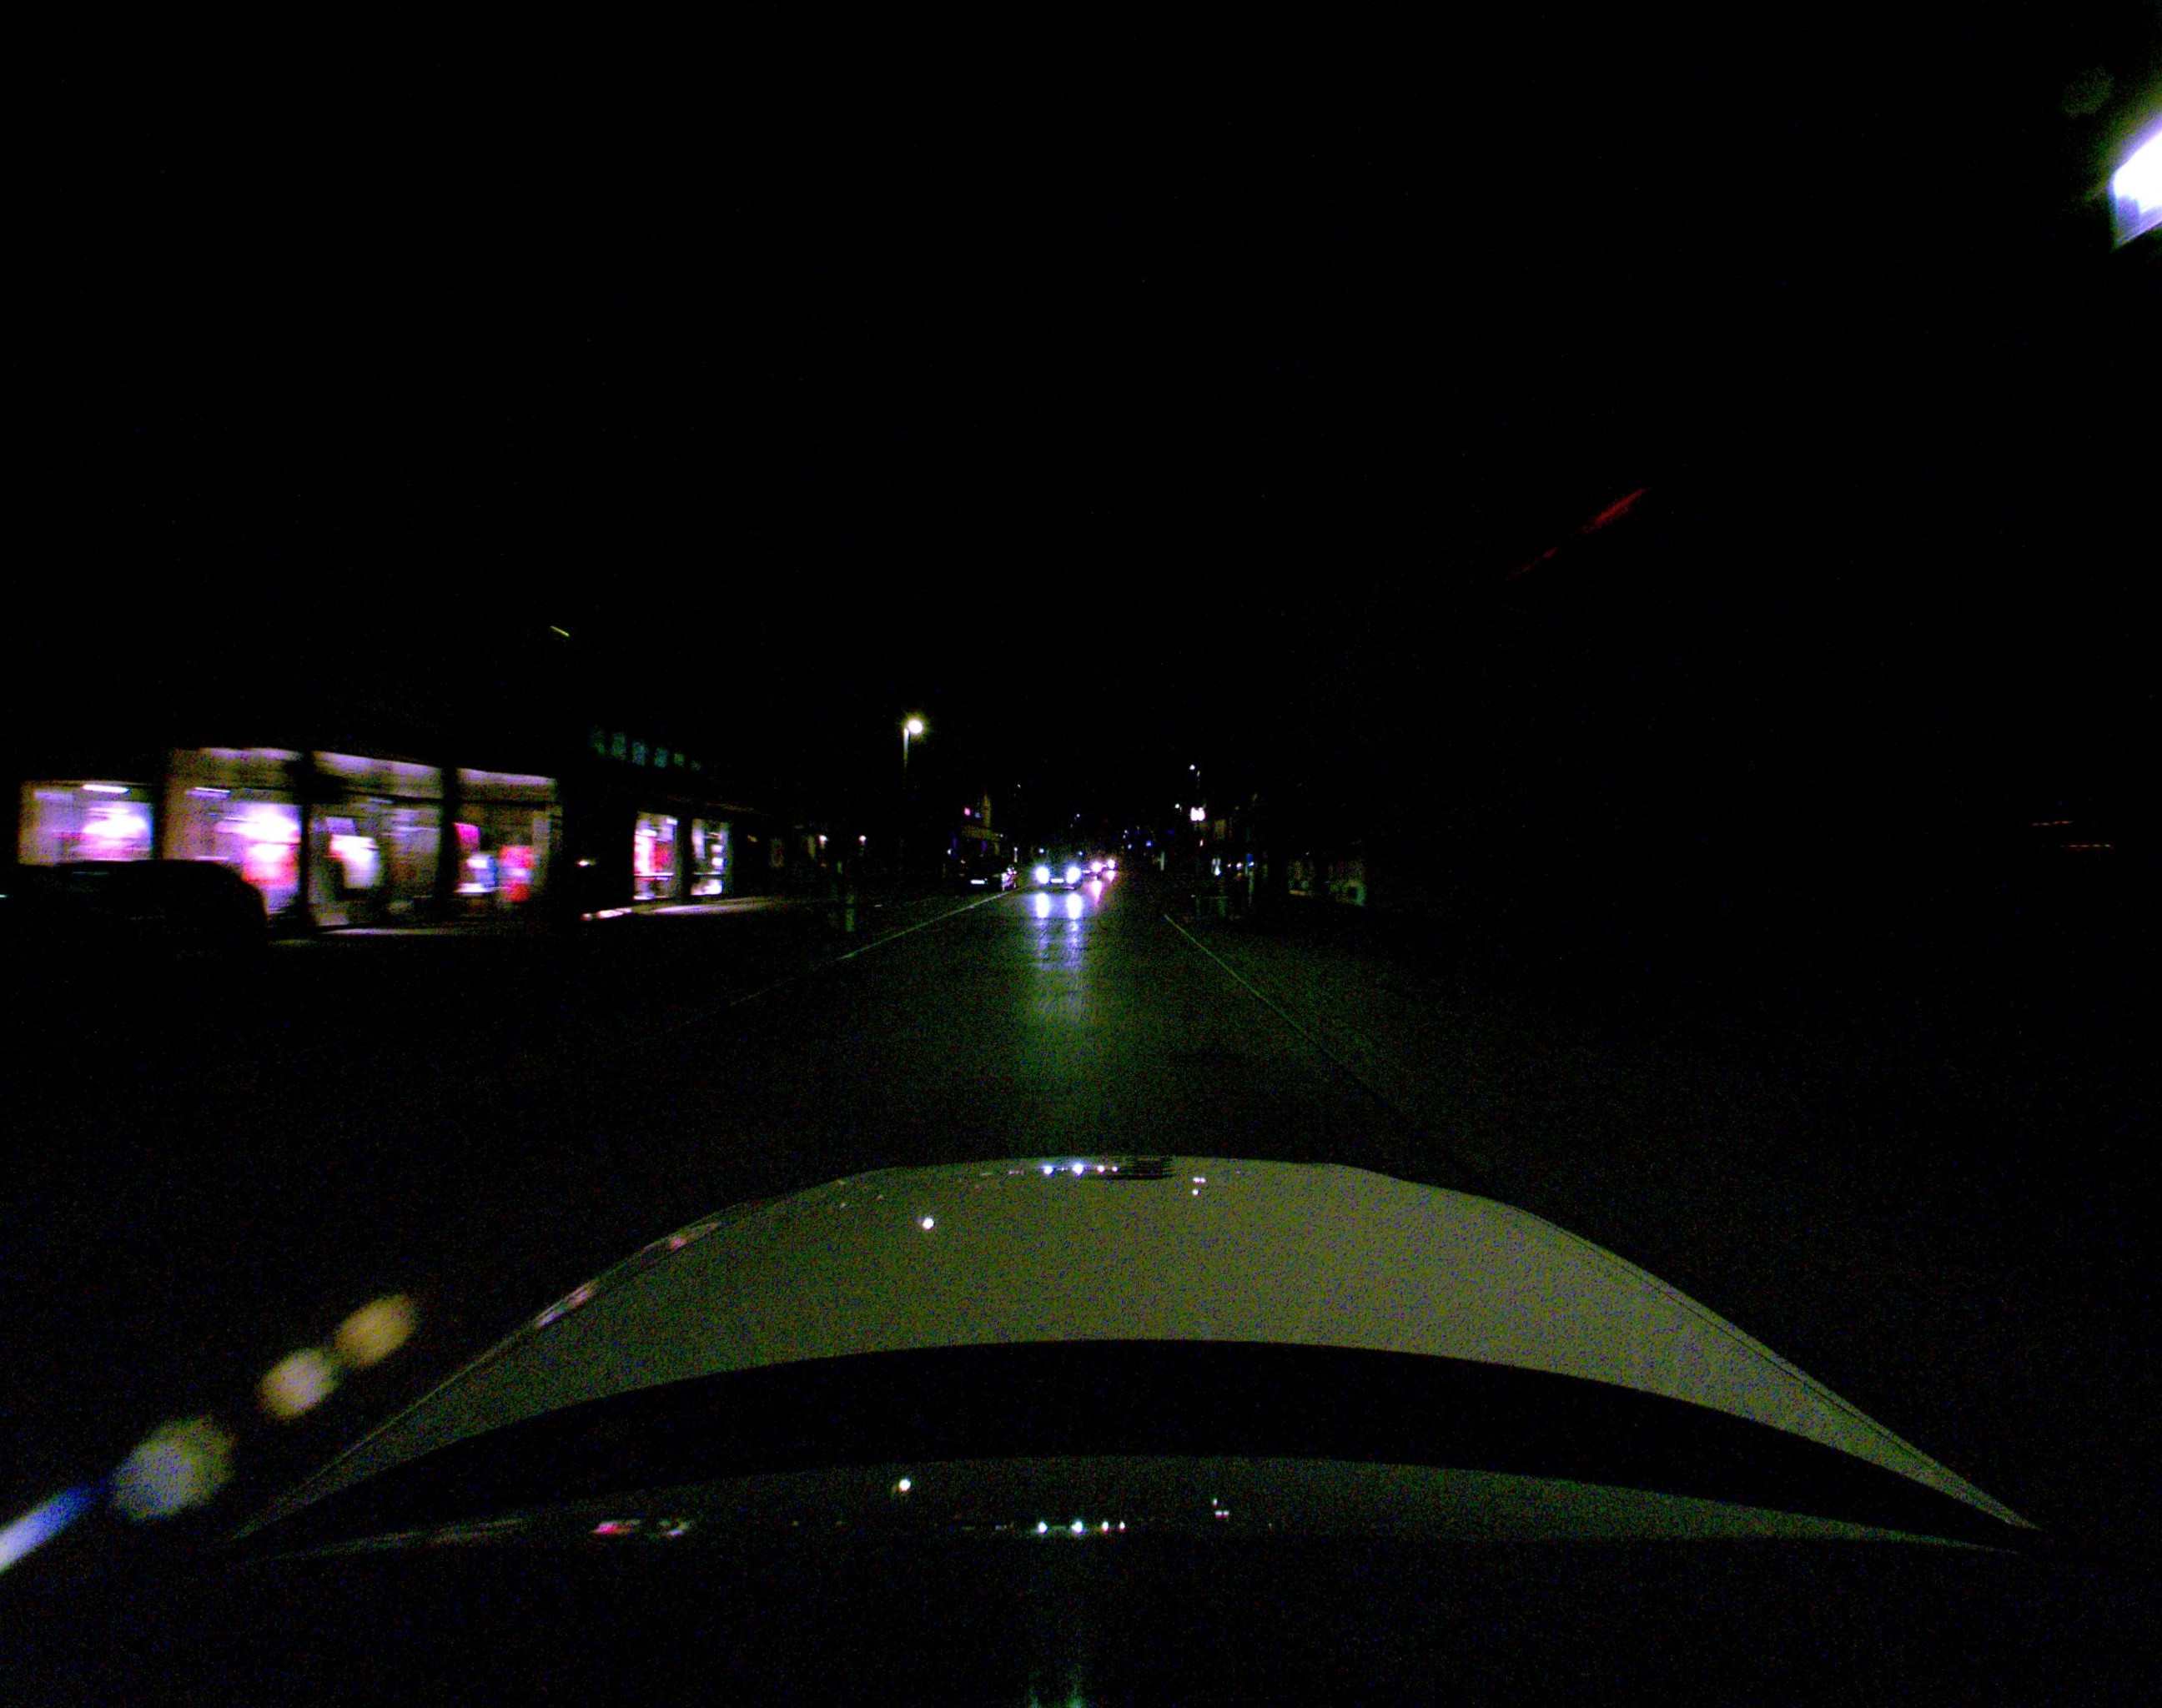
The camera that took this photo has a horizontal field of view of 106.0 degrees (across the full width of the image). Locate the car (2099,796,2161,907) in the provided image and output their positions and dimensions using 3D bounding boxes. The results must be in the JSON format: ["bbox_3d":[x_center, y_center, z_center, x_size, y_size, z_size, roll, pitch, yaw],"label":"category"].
[{"bbox_3d":[16.501,-0.210,10.749,4.037,1.476,1.644,-5,-2,-1],"label":"car"}]

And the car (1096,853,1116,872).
[{"bbox_3d":[2.352,0.780,76.157,1.768,1.652,4.366,0,0,2],"label":"car"}]

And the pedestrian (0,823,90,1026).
[{"bbox_3d":[-9.192,0.572,6.832,0.766,1.656,0.782,0,1,2],"label":"pedestrian"}]

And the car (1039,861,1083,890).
[{"bbox_3d":[-0.851,0.936,37.361,1.716,1.247,4.240,0,0,3],"label":"car"}]

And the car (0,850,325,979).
[{"bbox_3d":[-12.790,0.776,10.679,4.148,1.438,1.843,-3,-1,4],"label":"car"}]

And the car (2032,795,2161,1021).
[{"bbox_3d":[9.660,0.266,5.660,4.066,1.581,1.815,-4,0,-2],"label":"car"}]

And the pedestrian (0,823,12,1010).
[{"bbox_3d":[-9.967,0.562,6.874,0.766,1.656,0.817,0,1,2],"label":"pedestrian"}]

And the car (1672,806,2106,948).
[{"bbox_3d":[10.446,0.287,10.751,3.976,1.476,1.751,-3,-1,-1],"label":"car"}]

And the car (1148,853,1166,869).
[{"bbox_3d":[8.172,0.752,87.732,1.768,1.652,4.367,0,0,3],"label":"car"}]

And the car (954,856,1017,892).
[{"bbox_3d":[-3.934,0.798,34.323,1.906,1.370,4.461,0,0,3],"label":"car"}]

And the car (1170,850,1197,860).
[{"bbox_3d":[15.231,0.146,120.840,3.965,1.416,2.004,0,-2,7],"label":"car"}]

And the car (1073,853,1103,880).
[{"bbox_3d":[0.494,0.772,52.782,1.768,1.652,4.368,0,0,3],"label":"car"}]

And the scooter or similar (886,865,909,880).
[{"bbox_3d":[-9.538,0.951,42.331,1.092,0.781,0.524,0,0,-1],"label":"scooter or similar"}]
